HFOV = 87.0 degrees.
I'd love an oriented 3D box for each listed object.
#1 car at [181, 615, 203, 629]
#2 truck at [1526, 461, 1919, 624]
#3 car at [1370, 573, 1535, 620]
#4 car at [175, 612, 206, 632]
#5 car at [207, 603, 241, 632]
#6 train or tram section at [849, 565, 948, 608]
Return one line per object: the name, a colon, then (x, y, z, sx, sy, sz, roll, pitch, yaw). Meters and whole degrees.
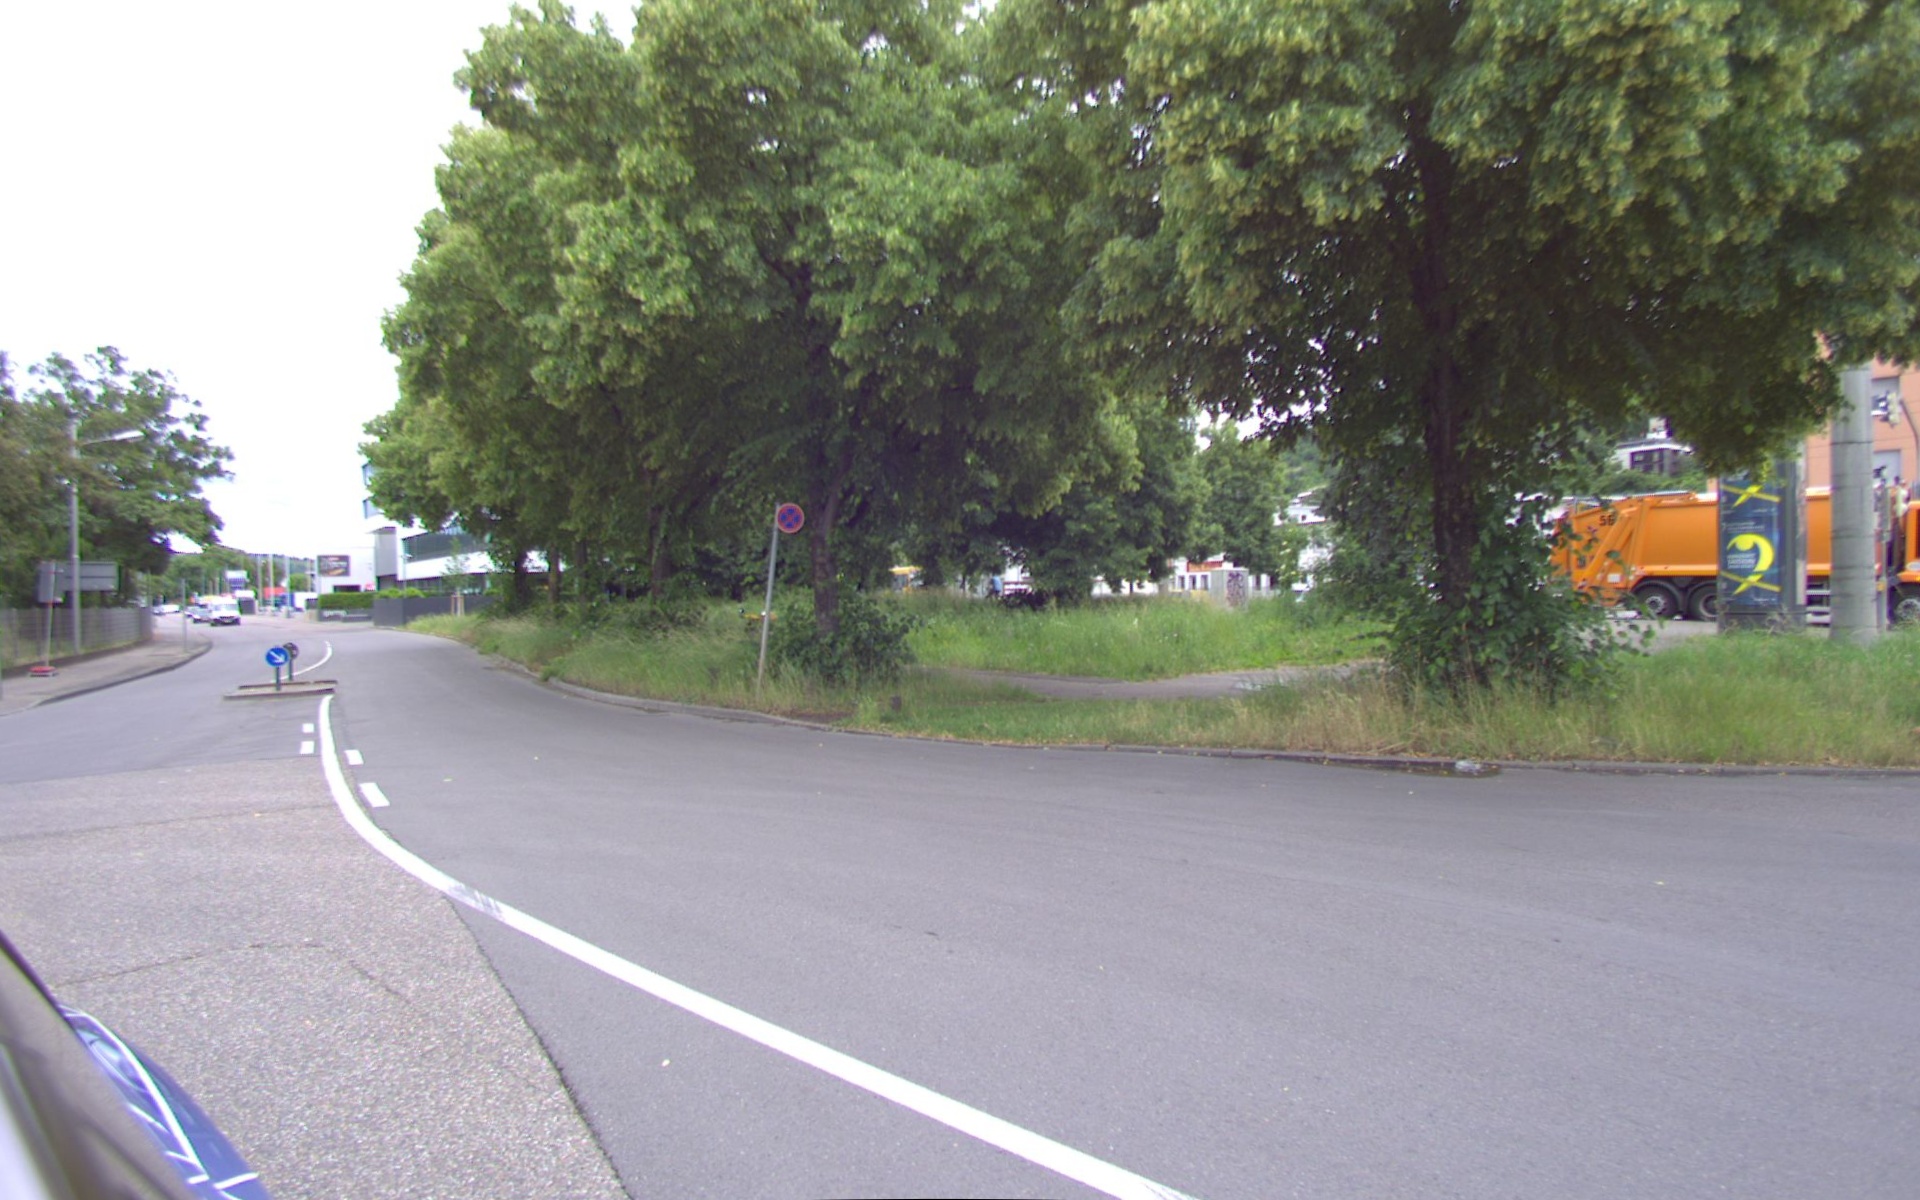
car: (-108.482, 3.116, 142.936, 2.351, 1.884, 5.219, -2, 1, -37)
truck: (20.286, -1.339, 25.465, 2.751, 3.553, 10.450, -2, 2, -34)
car: (17.166, -0.101, 35.488, 1.776, 1.519, 4.906, -3, 1, -39)
car: (-76.865, 2.152, 101.182, 2.351, 1.884, 5.219, -2, 1, -37)
car: (-67.373, 1.529, 92.590, 2.351, 2.477, 6.114, -2, 1, -37)
train or tram section: (-6.215, -1.148, 95.752, 3.221, 3.693, 19.238, -1, 0, -23)
